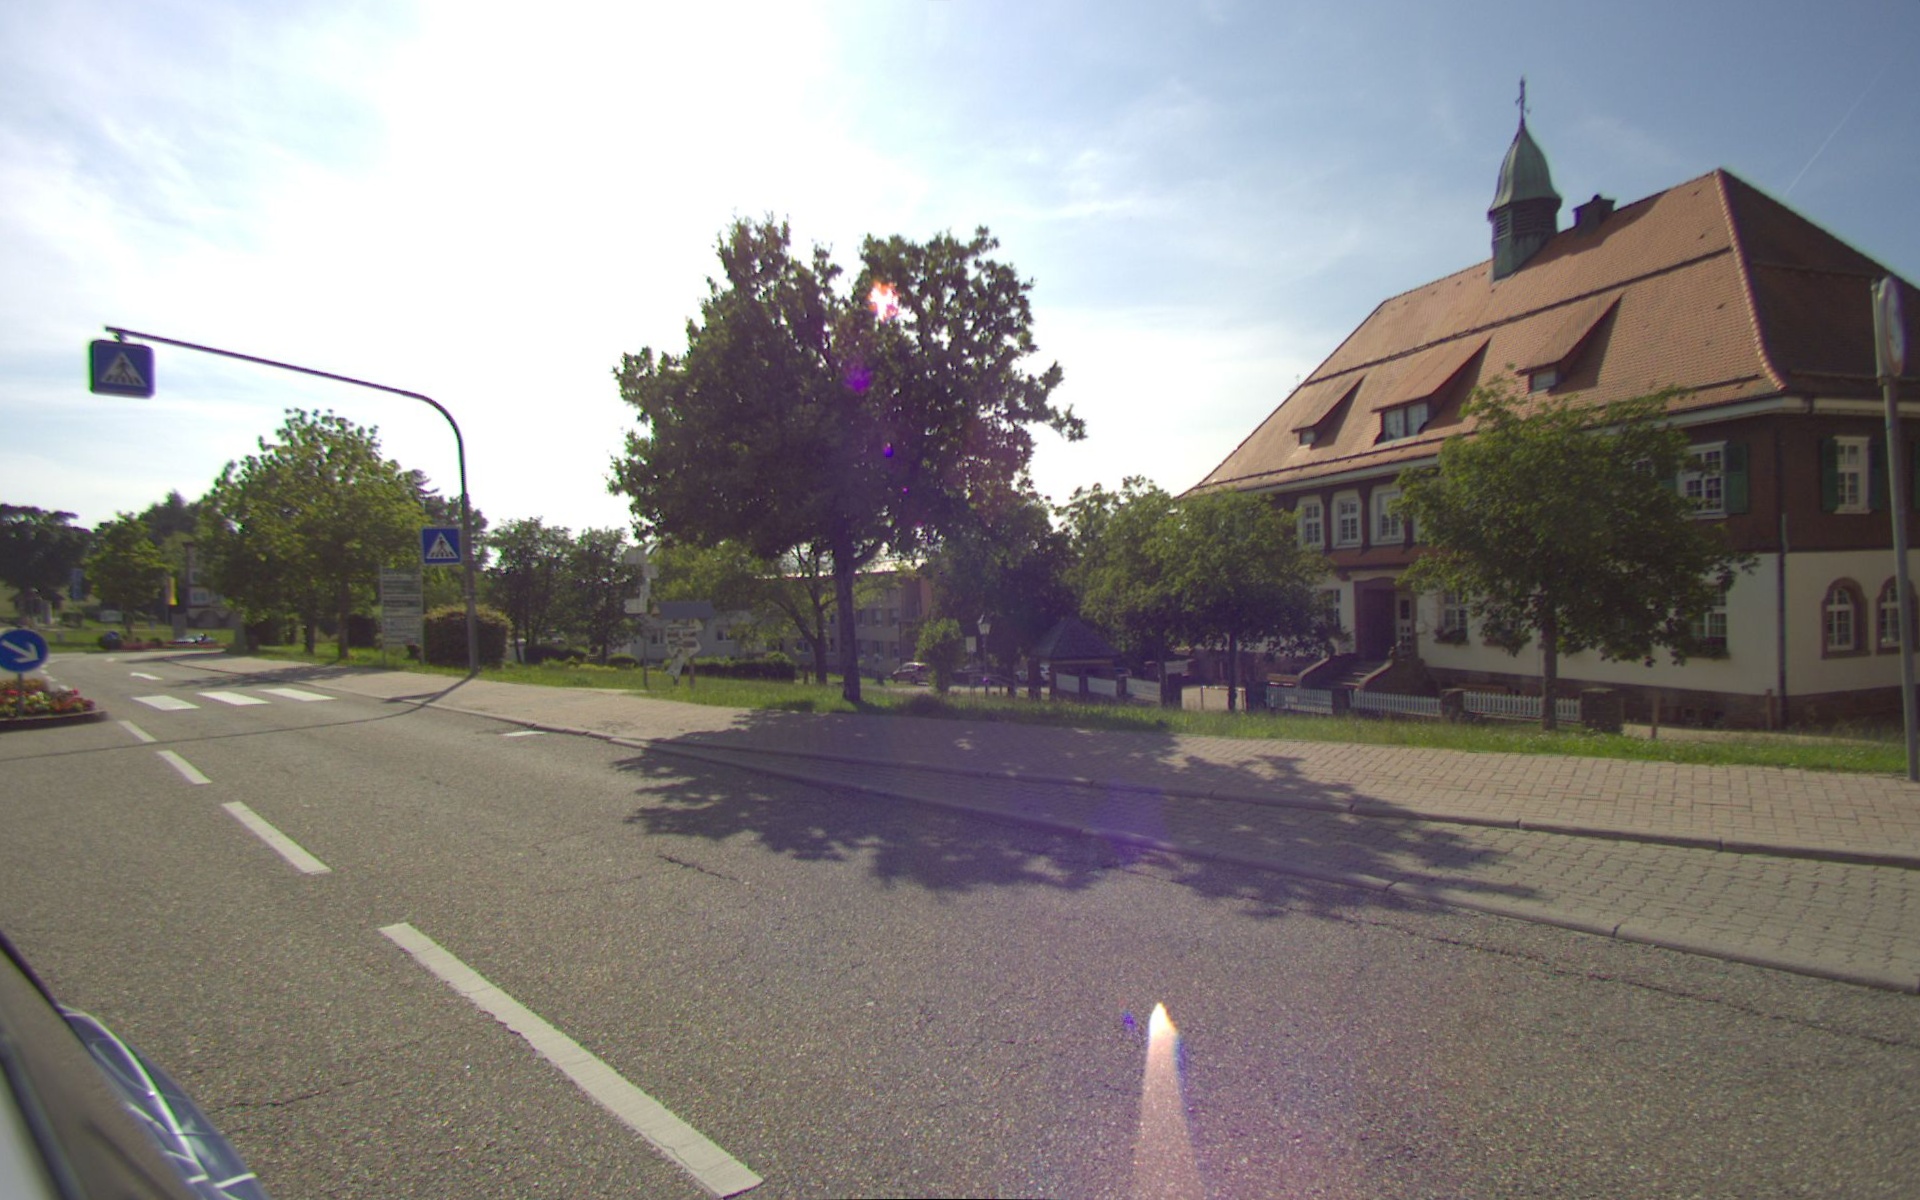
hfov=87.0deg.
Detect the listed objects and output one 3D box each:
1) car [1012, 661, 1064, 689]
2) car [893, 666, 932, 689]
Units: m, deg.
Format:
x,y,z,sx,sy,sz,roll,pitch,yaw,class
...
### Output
x,y,z,sx,sy,sz,roll,pitch,yaw,class
6.136,5.922,79.990,1.967,2.029,4.008,3,-3,-37,car
-3.562,5.715,75.122,1.542,1.652,2.978,1,-4,-36,car
